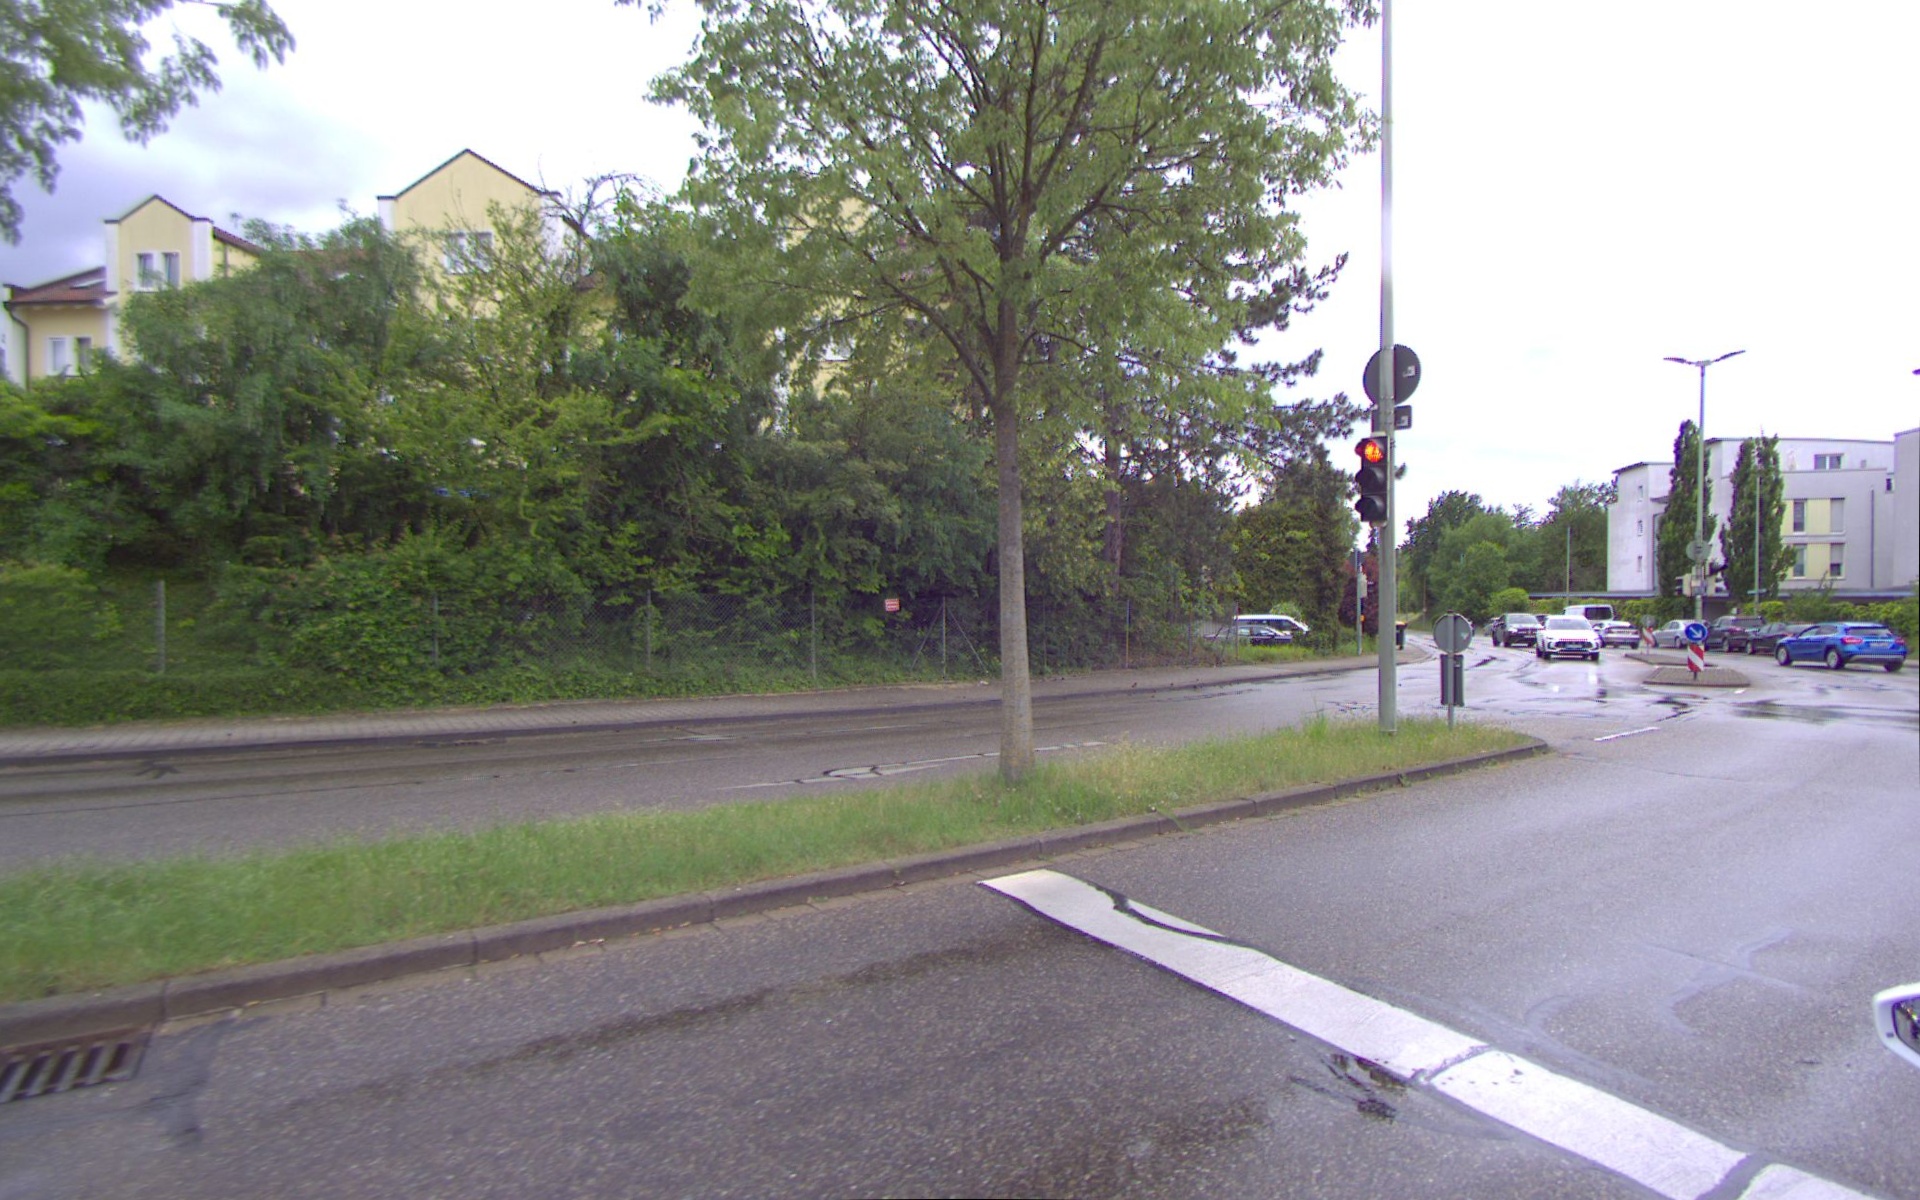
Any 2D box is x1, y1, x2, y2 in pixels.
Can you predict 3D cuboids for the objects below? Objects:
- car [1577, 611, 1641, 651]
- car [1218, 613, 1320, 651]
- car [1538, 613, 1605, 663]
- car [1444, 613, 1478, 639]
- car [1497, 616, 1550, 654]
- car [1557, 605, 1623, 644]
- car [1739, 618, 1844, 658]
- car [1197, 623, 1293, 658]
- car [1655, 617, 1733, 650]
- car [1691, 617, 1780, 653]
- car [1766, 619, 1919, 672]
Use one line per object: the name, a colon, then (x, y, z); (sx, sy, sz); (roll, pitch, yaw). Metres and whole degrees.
car: (34.004, 1.567, 52.753); (1.961, 1.782, 3.998); (0, 3, 20)
car: (13.331, 1.351, 43.370); (3.926, 1.484, 1.997); (0, 1, 27)
car: (23.073, 1.381, 38.007); (1.964, 1.662, 3.993); (1, 1, 29)
car: (44.701, 2.277, 89.641); (1.941, 2.041, 4.000); (0, 3, 15)
car: (29.508, 1.782, 52.728); (1.961, 1.840, 3.998); (0, 0, 22)
car: (41.799, 1.708, 66.810); (2.549, 2.445, 5.258); (0, -3, 19)
car: (35.182, 1.590, 42.643); (1.960, 1.576, 4.001); (-1, -1, 16)
car: (11.634, 1.624, 40.975); (3.521, 1.258, 1.650); (0, 1, 27)
car: (37.718, 1.712, 51.720); (1.960, 1.576, 4.001); (-1, -1, 16)
car: (36.360, 1.627, 47.235); (1.960, 1.576, 4.001); (-1, -1, 16)
car: (28.679, 1.440, 32.834); (1.959, 1.576, 4.002); (-1, -1, 11)
